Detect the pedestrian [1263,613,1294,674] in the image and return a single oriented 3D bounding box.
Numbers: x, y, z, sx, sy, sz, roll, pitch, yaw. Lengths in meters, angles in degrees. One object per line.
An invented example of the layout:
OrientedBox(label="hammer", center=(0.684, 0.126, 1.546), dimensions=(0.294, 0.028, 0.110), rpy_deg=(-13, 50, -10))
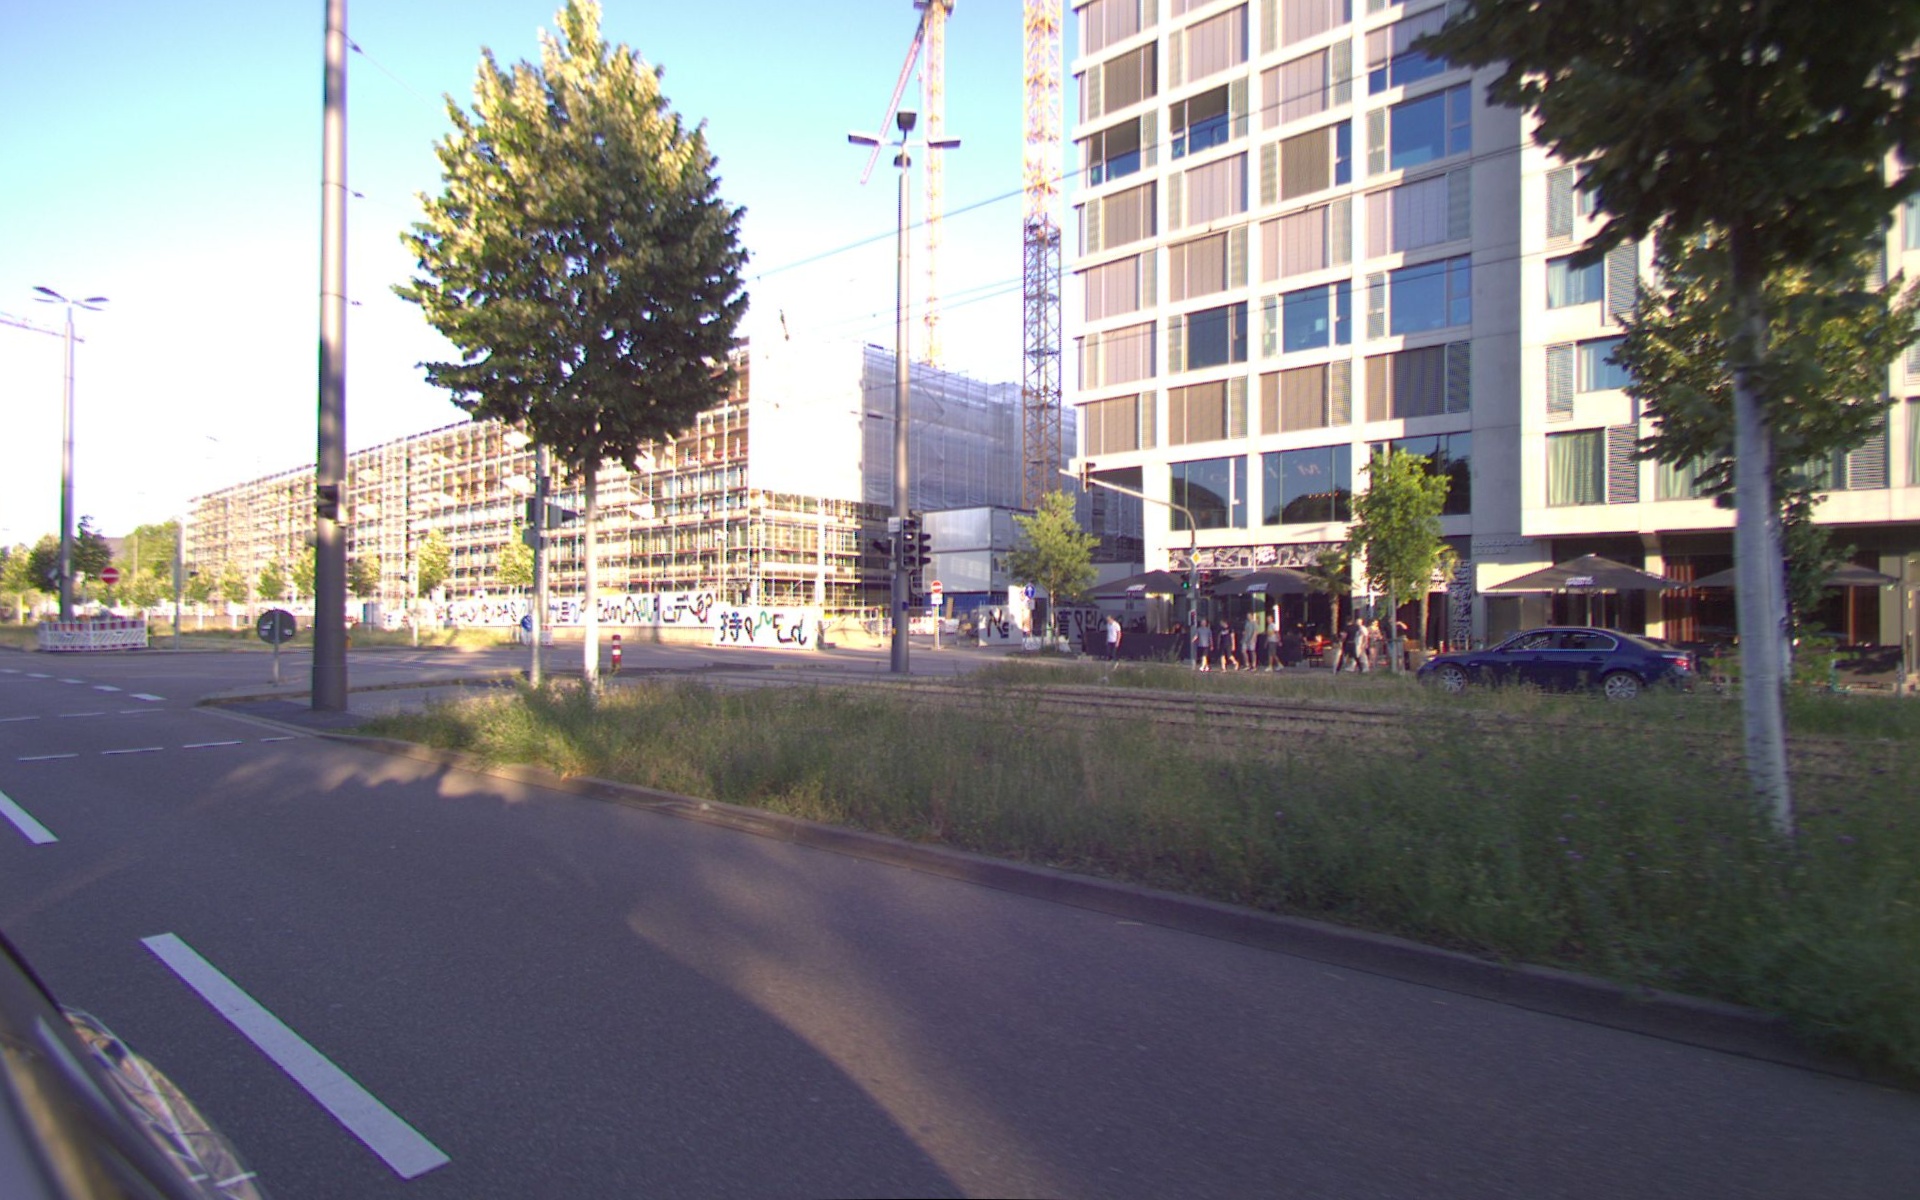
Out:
OrientedBox(label="pedestrian", center=(10.348, 1.401, 32.862), dimensions=(0.708, 1.938, 0.671), rpy_deg=(-1, 0, 42))

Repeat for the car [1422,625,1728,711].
OrientedBox(label="car", center=(11.801, 1.252, 19.632), dimensions=(4.799, 1.452, 1.993), rpy_deg=(-1, -4, 42))

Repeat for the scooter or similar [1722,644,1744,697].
OrientedBox(label="scooter or similar", center=(18.447, 1.665, 24.149), dimensions=(0.338, 1.227, 1.169), rpy_deg=(-1, -2, 40))

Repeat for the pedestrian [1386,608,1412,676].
OrientedBox(label="pedestrian", center=(13.404, 1.279, 30.894), dimensions=(0.494, 2.029, 0.552), rpy_deg=(0, -2, -8))

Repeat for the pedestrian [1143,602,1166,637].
OrientedBox(label="pedestrian", center=(8.267, 0.813, 43.054), dimensions=(0.772, 1.473, 0.598), rpy_deg=(-1, -2, 40))

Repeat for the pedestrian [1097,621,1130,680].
OrientedBox(label="pedestrian", center=(4.912, 1.600, 32.369), dimensions=(0.762, 1.850, 0.699), rpy_deg=(-1, 0, 39))

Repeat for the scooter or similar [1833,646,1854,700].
OrientedBox(label="scooter or similar", center=(19.943, 1.626, 22.852), dimensions=(0.338, 1.172, 1.169), rpy_deg=(-1, -2, 40))

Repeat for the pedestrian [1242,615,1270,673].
OrientedBox(label="pedestrian", center=(9.767, 1.448, 33.385), dimensions=(0.680, 1.849, 0.699), rpy_deg=(0, 1, 39))

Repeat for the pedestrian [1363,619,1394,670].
OrientedBox(label="pedestrian", center=(13.637, 1.443, 32.977), dimensions=(0.709, 1.615, 0.671), rpy_deg=(-1, 0, 45))

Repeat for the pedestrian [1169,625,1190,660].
OrientedBox(label="pedestrian", center=(9.189, 1.775, 42.426), dimensions=(0.768, 1.425, 0.601), rpy_deg=(-1, -2, 24))

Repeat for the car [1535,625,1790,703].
OrientedBox(label="car", center=(14.546, 1.248, 21.095), dimensions=(4.219, 1.451, 1.866), rpy_deg=(-1, -2, 39))

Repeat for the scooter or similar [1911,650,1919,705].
OrientedBox(label="scooter or similar", center=(20.930, 1.670, 21.954), dimensions=(0.338, 1.065, 1.170), rpy_deg=(-3, 1, 40))

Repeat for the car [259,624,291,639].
OrientedBox(label="car", center=(-71.839, 3.296, 106.075), dimensions=(4.065, 1.466, 1.647), rpy_deg=(-1, -3, 40))

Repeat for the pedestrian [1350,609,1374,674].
OrientedBox(label="pedestrian", center=(12.684, 1.293, 31.926), dimensions=(0.494, 2.029, 0.552), rpy_deg=(0, -2, -8))
